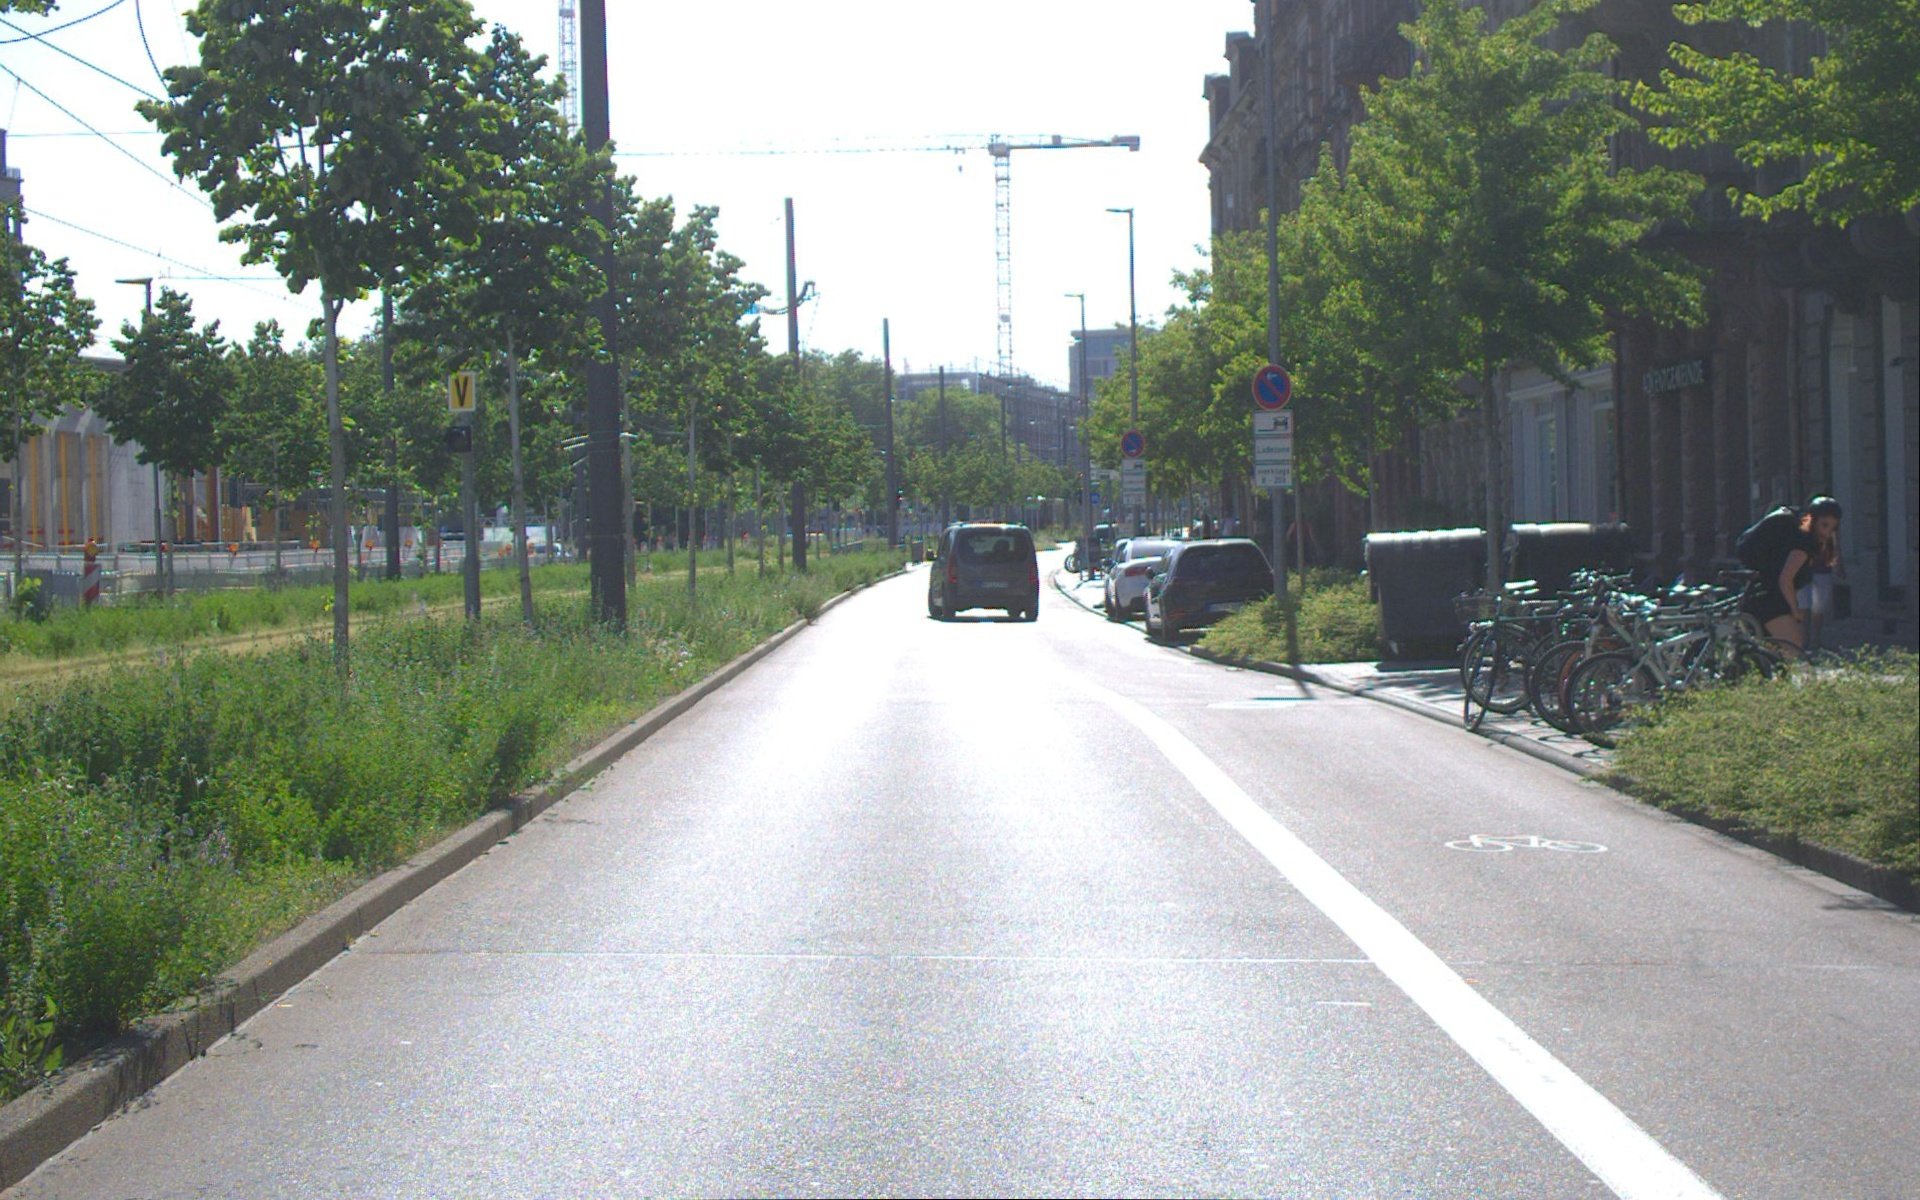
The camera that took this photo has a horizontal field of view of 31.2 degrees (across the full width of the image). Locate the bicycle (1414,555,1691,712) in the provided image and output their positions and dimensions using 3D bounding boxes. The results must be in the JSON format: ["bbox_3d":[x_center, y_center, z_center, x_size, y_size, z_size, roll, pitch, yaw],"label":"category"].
[{"bbox_3d":[4.764,0.261,27.682,2.043,1.103,0.611,-4,1,-6],"label":"bicycle"}]

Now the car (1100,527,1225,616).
[{"bbox_3d":[3.725,-0.561,63.921,1.951,1.490,5.105,-3,1,0],"label":"car"}]

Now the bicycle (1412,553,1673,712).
[{"bbox_3d":[4.756,0.259,28.090,1.974,1.120,0.482,-5,2,-5],"label":"bicycle"}]

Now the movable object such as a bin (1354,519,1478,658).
[{"bbox_3d":[5.068,-0.145,38.332,1.271,1.458,1.644,0,3,5],"label":"movable object such as a bin"}]

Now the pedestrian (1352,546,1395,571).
[{"bbox_3d":[10.159,-1.022,84.489,0.773,0.551,2.008,-2,2,0],"label":"pedestrian"}]

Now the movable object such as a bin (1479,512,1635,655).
[{"bbox_3d":[6.664,-0.191,38.502,1.373,1.490,1.749,-4,0,1],"label":"movable object such as a bin"}]

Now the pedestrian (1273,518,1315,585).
[{"bbox_3d":[8.641,-1.261,88.972,0.996,1.725,0.866,0,0,0],"label":"pedestrian"}]

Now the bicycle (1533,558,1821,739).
[{"bbox_3d":[4.921,0.327,23.626,1.866,1.175,0.374,-2,0,-3],"label":"bicycle"}]

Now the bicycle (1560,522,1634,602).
[{"bbox_3d":[9.897,-0.589,53.463,0.748,1.197,1.801,-2,1,0],"label":"bicycle"}]

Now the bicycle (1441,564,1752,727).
[{"bbox_3d":[4.864,0.337,26.255,2.284,1.098,0.486,-3,1,-14],"label":"bicycle"}]

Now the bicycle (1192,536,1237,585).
[{"bbox_3d":[5.956,-0.925,80.513,0.650,1.116,2.173,-3,1,-6],"label":"bicycle"}]

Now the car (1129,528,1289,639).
[{"bbox_3d":[3.658,-0.249,51.215,1.765,1.472,4.449,-4,1,-3],"label":"car"}]

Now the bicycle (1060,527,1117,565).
[{"bbox_3d":[4.526,-1.910,121.276,1.878,1.229,0.500,-4,1,-5],"label":"bicycle"}]

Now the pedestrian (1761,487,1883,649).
[{"bbox_3d":[9.025,-0.344,36.041,0.971,1.633,0.992,-2,2,0],"label":"pedestrian"}]

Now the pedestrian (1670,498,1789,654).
[{"bbox_3d":[8.068,-0.264,36.078,0.950,1.561,1.080,-2,2,-1],"label":"pedestrian"}]

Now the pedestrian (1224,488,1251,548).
[{"bbox_3d":[9.483,-2.806,117.521,0.817,2.007,1.046,0,-1,0],"label":"pedestrian"}]

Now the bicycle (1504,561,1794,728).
[{"bbox_3d":[5.020,0.321,25.088,1.977,1.104,0.435,-3,1,-3],"label":"bicycle"}]

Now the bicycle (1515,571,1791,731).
[{"bbox_3d":[4.979,0.358,24.746,1.814,1.052,0.572,-3,1,-6],"label":"bicycle"}]

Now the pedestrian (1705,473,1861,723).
[{"bbox_3d":[6.026,-0.025,25.141,0.900,1.730,0.849,-4,1,20],"label":"pedestrian"}]

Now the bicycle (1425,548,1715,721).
[{"bbox_3d":[4.719,0.256,26.598,2.146,1.150,0.429,-5,1,-13],"label":"bicycle"}]

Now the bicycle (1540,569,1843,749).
[{"bbox_3d":[4.945,0.389,23.273,1.891,1.105,0.518,-3,1,-5],"label":"bicycle"}]

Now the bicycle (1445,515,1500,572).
[{"bbox_3d":[10.074,-1.115,67.657,0.721,1.086,2.198,-2,1,0],"label":"bicycle"}]

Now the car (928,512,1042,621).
[{"bbox_3d":[0.446,-0.636,65.565,1.993,2.007,4.000,0,1,-2],"label":"car"}]
